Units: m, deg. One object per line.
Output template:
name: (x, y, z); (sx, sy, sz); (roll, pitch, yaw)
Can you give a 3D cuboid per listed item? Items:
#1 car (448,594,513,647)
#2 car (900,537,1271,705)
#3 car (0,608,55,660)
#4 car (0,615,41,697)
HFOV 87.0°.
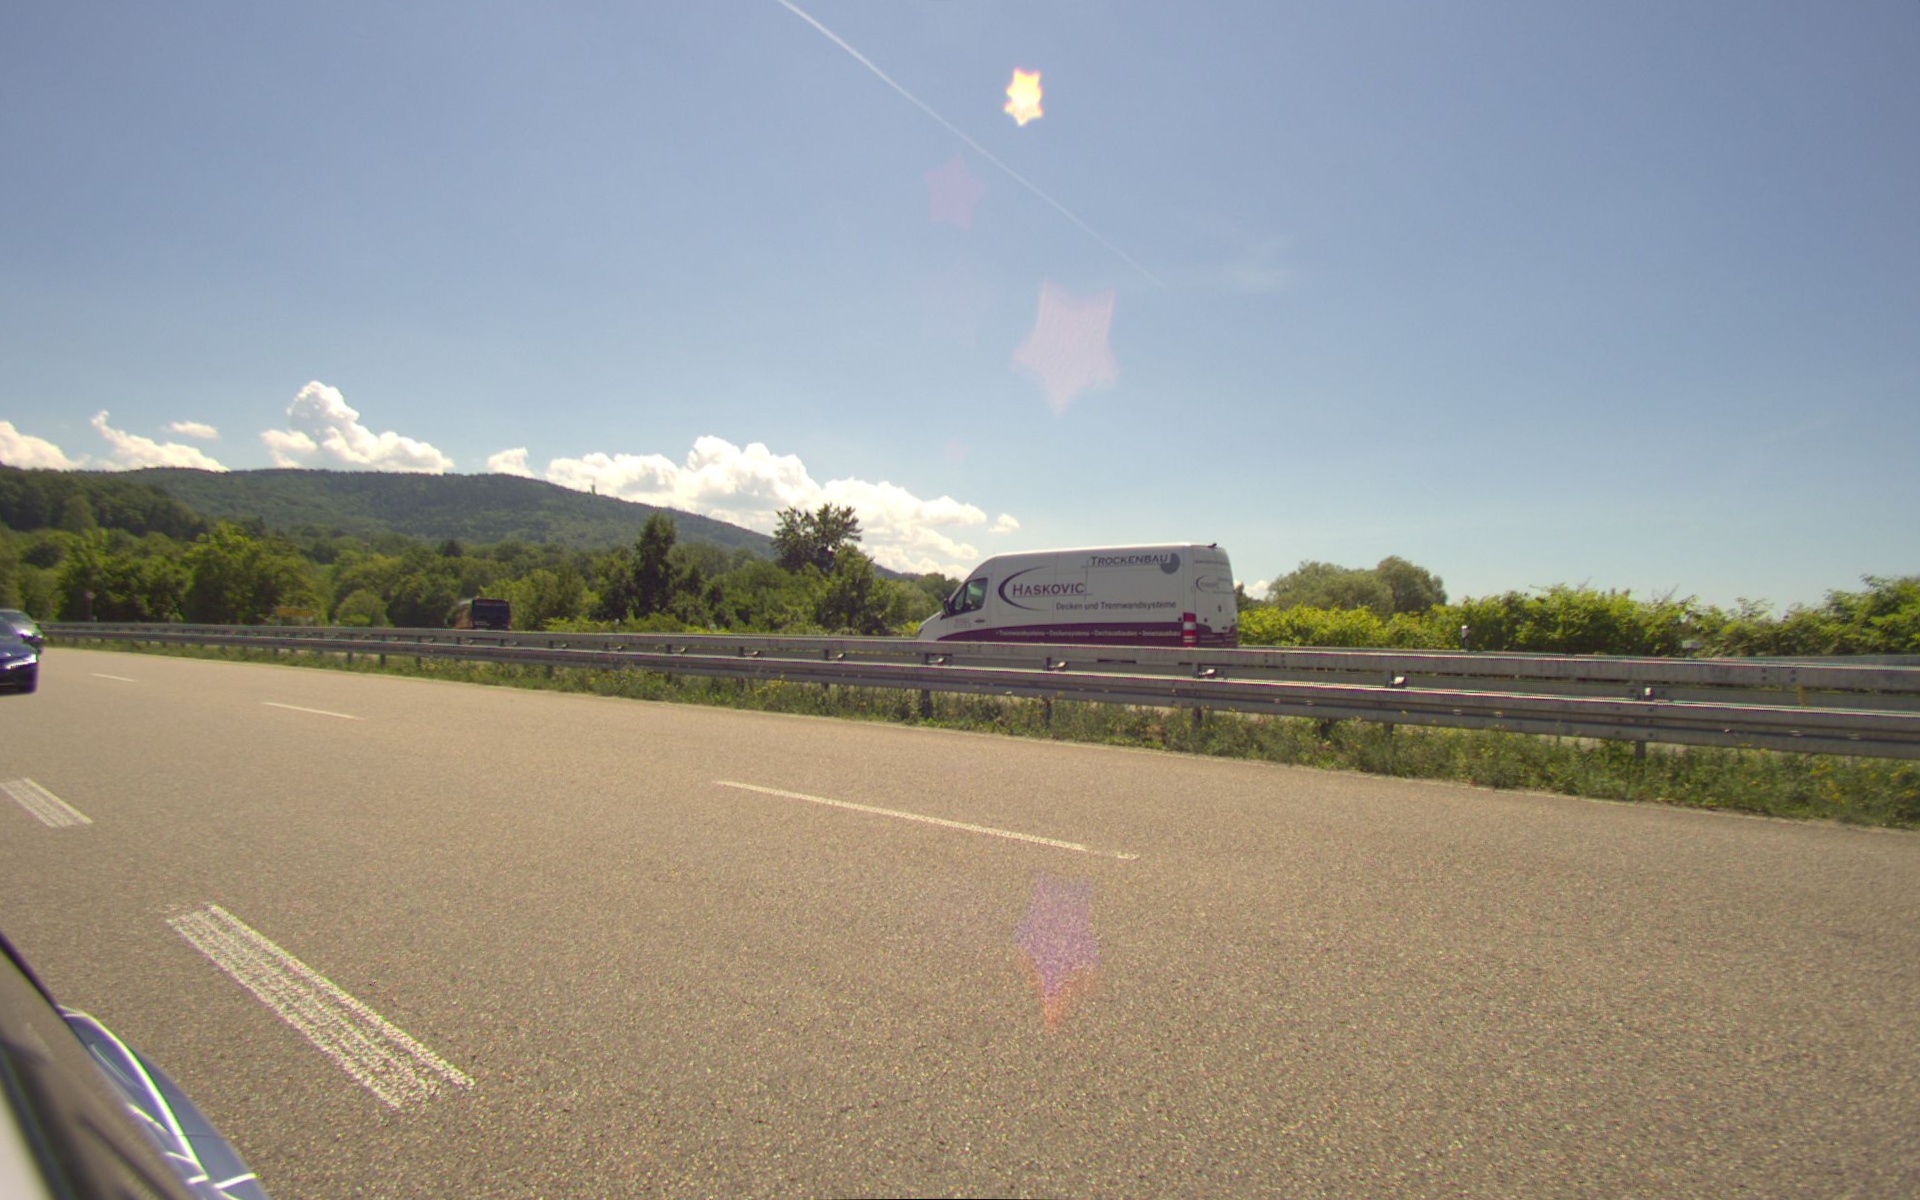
car: (-25.575, 1.034, 53.830); (2.174, 2.657, 5.640); (2, -1, -35)
car: (2.219, 0.335, 20.025); (7.217, 2.794, 2.256); (1, -1, 40)
car: (-33.515, 1.206, 35.622); (4.549, 1.680, 1.775); (-2, 0, 39)
car: (-18.542, 0.999, 18.672); (4.467, 1.418, 1.822); (-1, -1, 41)
